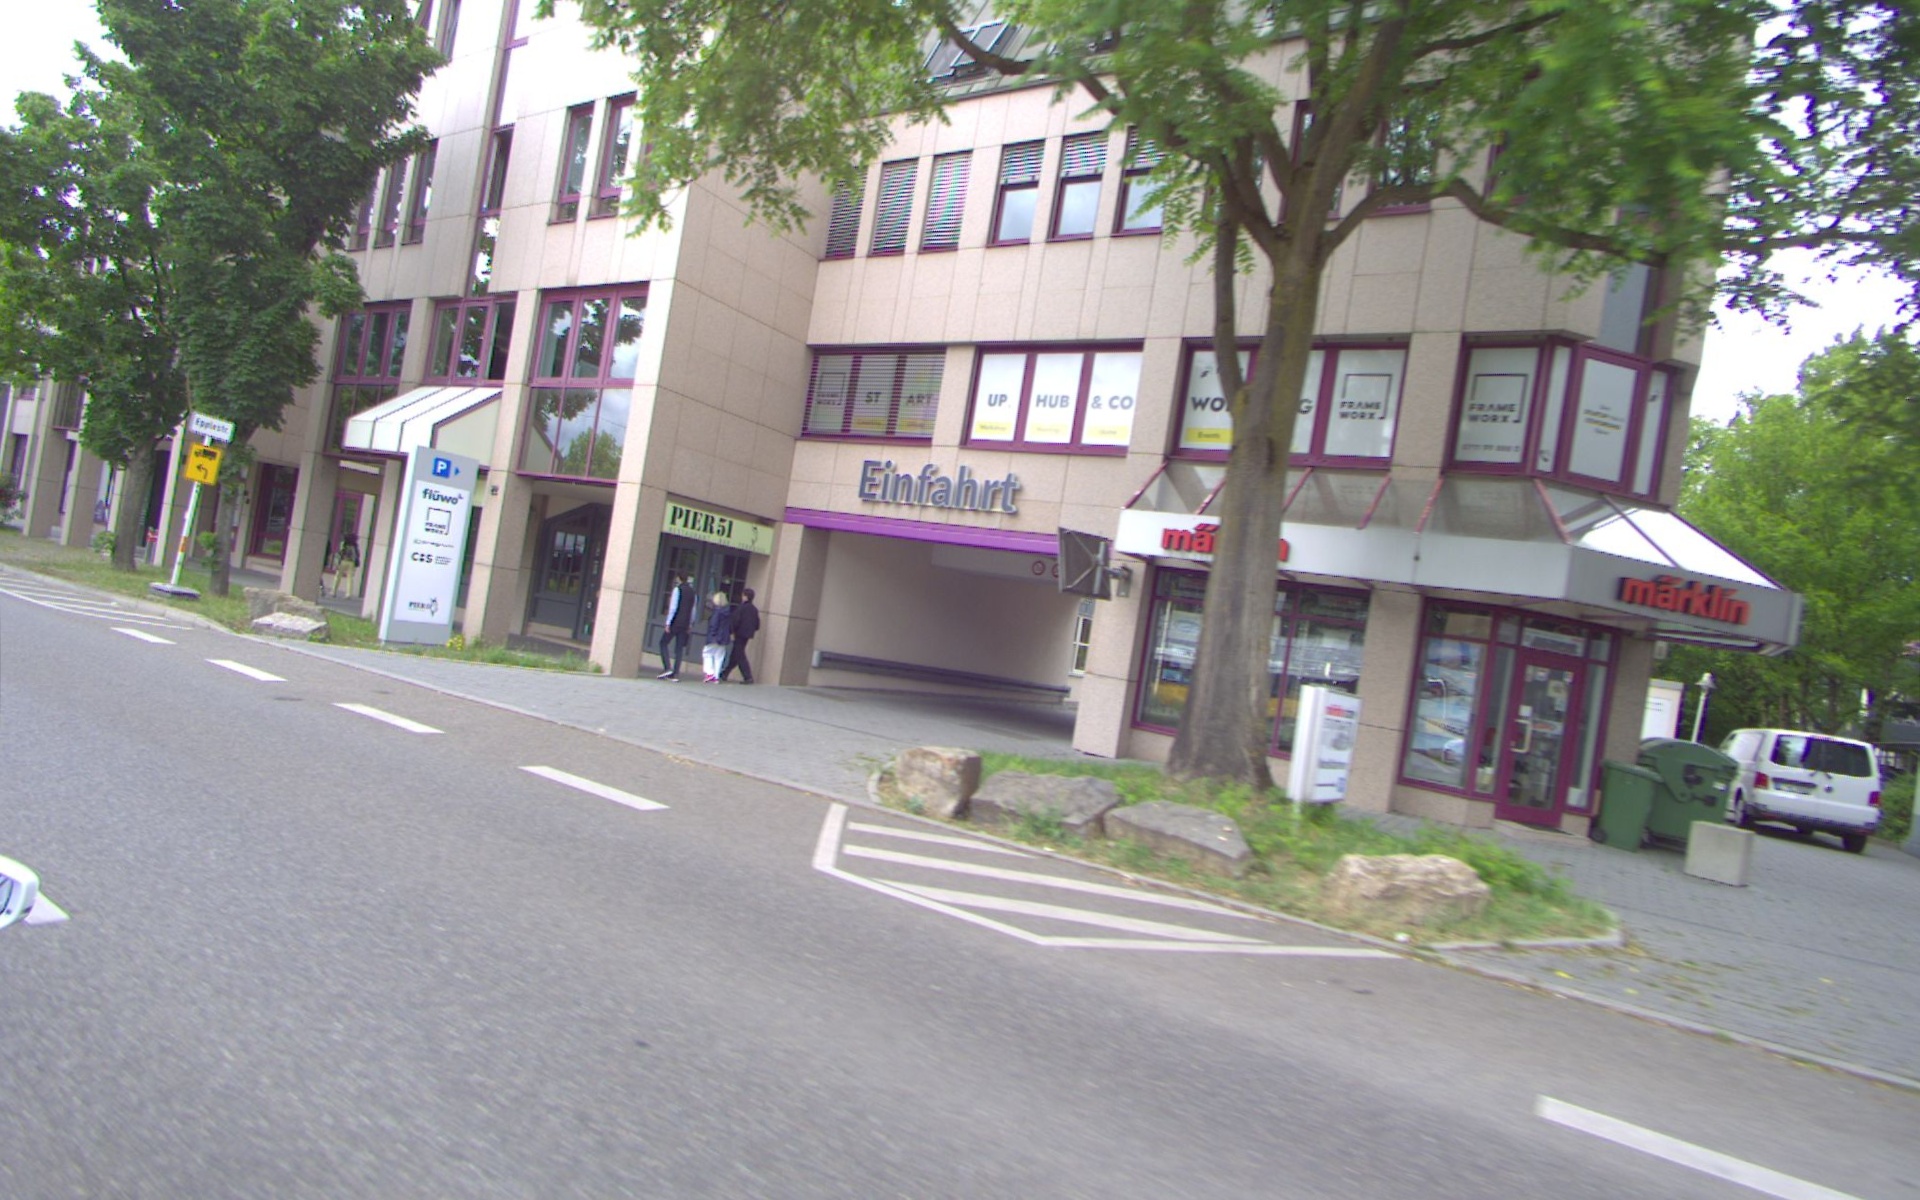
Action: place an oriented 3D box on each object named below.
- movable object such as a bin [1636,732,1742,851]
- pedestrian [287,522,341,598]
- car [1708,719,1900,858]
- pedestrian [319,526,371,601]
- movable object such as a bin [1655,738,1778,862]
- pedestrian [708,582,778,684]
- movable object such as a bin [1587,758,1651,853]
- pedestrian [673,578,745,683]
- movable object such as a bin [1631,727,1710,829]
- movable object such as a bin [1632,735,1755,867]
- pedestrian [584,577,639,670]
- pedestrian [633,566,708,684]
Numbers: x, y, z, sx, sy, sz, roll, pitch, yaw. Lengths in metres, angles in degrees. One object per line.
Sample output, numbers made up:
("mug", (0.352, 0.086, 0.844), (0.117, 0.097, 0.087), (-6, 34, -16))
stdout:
("movable object such as a bin", (10.655, 2.771, 14.755), (1.043, 1.490, 0.909), (7, -1, 32))
("pedestrian", (-15.734, -0.970, 24.505), (0.954, 1.725, 0.595), (7, -1, 34))
("car", (16.090, 3.496, 19.451), (2.083, 2.037, 4.280), (7, -2, 33))
("pedestrian", (-15.363, -0.917, 25.125), (0.954, 1.725, 0.595), (7, -1, 34))
("movable object such as a bin", (10.420, 2.725, 13.918), (1.131, 1.430, 0.907), (7, -1, 32))
("pedestrian", (-3.887, 0.588, 18.043), (0.829, 1.712, 0.658), (7, 1, 34))
("movable object such as a bin", (8.423, 2.615, 12.874), (0.551, 1.079, 0.489), (7, -1, 32))
("pedestrian", (-4.345, 0.535, 17.421), (0.829, 1.712, 0.658), (7, 1, 34))
("movable object such as a bin", (11.809, 2.933, 16.757), (0.862, 1.491, 0.973), (7, -1, 32))
("movable object such as a bin", (9.432, 2.556, 12.986), (1.068, 1.430, 0.886), (7, -1, 32))
("pedestrian", (-6.188, 0.416, 17.852), (0.535, 1.569, 0.561), (7, 1, 33))
("pedestrian", (-4.843, 0.419, 16.830), (0.829, 1.849, 0.658), (7, 1, 34))
